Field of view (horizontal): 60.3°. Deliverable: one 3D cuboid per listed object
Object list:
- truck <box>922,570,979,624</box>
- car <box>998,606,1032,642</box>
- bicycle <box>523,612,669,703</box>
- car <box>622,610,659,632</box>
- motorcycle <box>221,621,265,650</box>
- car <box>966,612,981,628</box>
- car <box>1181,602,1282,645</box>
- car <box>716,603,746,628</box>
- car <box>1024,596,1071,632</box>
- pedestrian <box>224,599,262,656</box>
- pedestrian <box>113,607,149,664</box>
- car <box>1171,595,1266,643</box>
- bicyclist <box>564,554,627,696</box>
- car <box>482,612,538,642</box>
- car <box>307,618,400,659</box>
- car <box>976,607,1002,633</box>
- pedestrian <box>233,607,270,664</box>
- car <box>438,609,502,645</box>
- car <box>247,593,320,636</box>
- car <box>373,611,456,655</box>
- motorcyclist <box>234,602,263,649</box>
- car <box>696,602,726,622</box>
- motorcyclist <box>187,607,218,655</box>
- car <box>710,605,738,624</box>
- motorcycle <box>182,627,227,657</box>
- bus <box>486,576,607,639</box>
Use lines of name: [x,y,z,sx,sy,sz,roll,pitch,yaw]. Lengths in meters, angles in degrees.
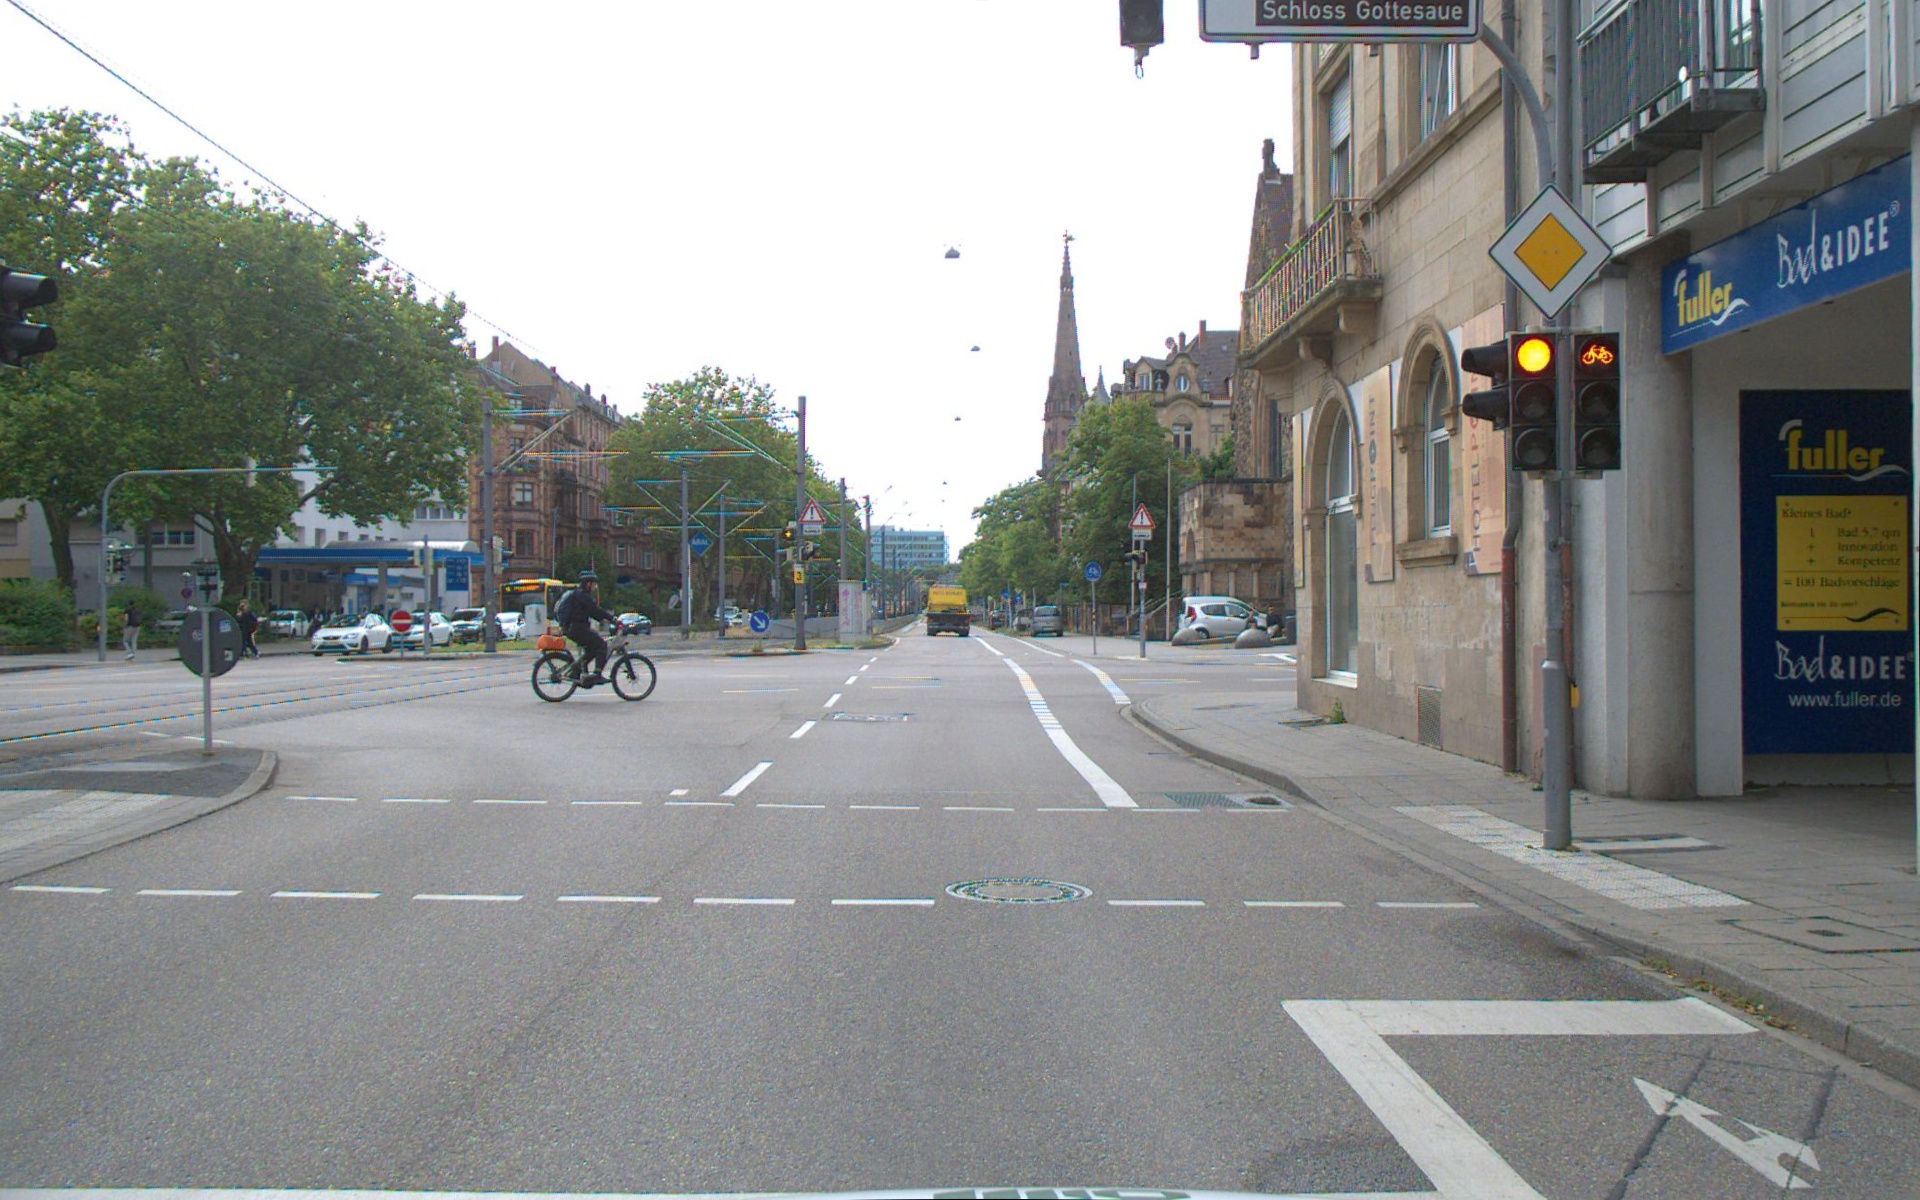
truck: [-0.610,-0.134,91.757,2.993,2.817,9.813,0,0,-1]
car: [3.285,1.420,99.661,1.952,2.049,4.000,1,0,1]
bicycle: [-5.384,0.838,24.478,1.970,1.294,0.743,1,-1,-31]
car: [-20.678,1.330,107.122,1.622,1.344,3.638,1,0,1]
motorcycle: [-23.692,1.165,54.676,0.594,0.945,1.951,0,0,0]
car: [1.760,2.663,216.828,1.953,2.049,3.999,1,0,-1]
car: [10.673,0.926,65.147,3.638,1.591,2.000,1,0,-1]
car: [-19.015,1.296,137.594,1.953,2.049,3.999,1,0,-1]
car: [4.813,0.771,90.052,1.951,1.888,4.030,1,0,12]
pedestrian: [-21.903,0.833,50.540,0.849,1.743,0.691,0,0,3]
pedestrian: [-25.307,1.089,50.478,0.669,1.720,0.742,1,-1,4]
car: [10.689,0.795,68.562,3.638,1.888,2.000,1,0,-1]
bicyclist: [-5.387,0.365,24.433,0.684,2.049,0.775,1,-1,-29]
car: [-21.382,1.282,78.704,1.622,1.344,3.638,1,0,1]
car: [-21.437,1.329,58.630,1.711,1.344,4.075,1,0,1]
car: [2.373,1.628,136.006,1.953,2.049,3.999,1,0,-1]
pedestrian: [-21.973,1.085,51.301,0.854,1.743,0.874,0,0,-7]
car: [-21.225,1.137,71.785,1.622,1.504,3.638,1,0,1]
car: [-32.867,0.690,80.409,1.953,2.049,3.999,0,0,-1]
car: [-21.425,1.285,65.132,1.953,1.622,3.999,1,0,-1]
motorcyclist: [-23.661,0.855,55.011,0.607,1.546,0.873,0,0,-1]
car: [-21.227,1.023,141.186,1.953,1.639,3.999,1,0,-1]
motorcyclist: [-24.679,0.991,53.911,0.607,1.546,0.873,0,0,-1]
car: [-21.249,1.320,148.882,1.953,1.639,3.999,1,0,-1]
motorcycle: [-24.681,1.367,54.082,0.594,0.945,1.951,0,0,0]
bus: [-21.969,0.416,88.758,3.164,3.088,12.312,1,0,1]
